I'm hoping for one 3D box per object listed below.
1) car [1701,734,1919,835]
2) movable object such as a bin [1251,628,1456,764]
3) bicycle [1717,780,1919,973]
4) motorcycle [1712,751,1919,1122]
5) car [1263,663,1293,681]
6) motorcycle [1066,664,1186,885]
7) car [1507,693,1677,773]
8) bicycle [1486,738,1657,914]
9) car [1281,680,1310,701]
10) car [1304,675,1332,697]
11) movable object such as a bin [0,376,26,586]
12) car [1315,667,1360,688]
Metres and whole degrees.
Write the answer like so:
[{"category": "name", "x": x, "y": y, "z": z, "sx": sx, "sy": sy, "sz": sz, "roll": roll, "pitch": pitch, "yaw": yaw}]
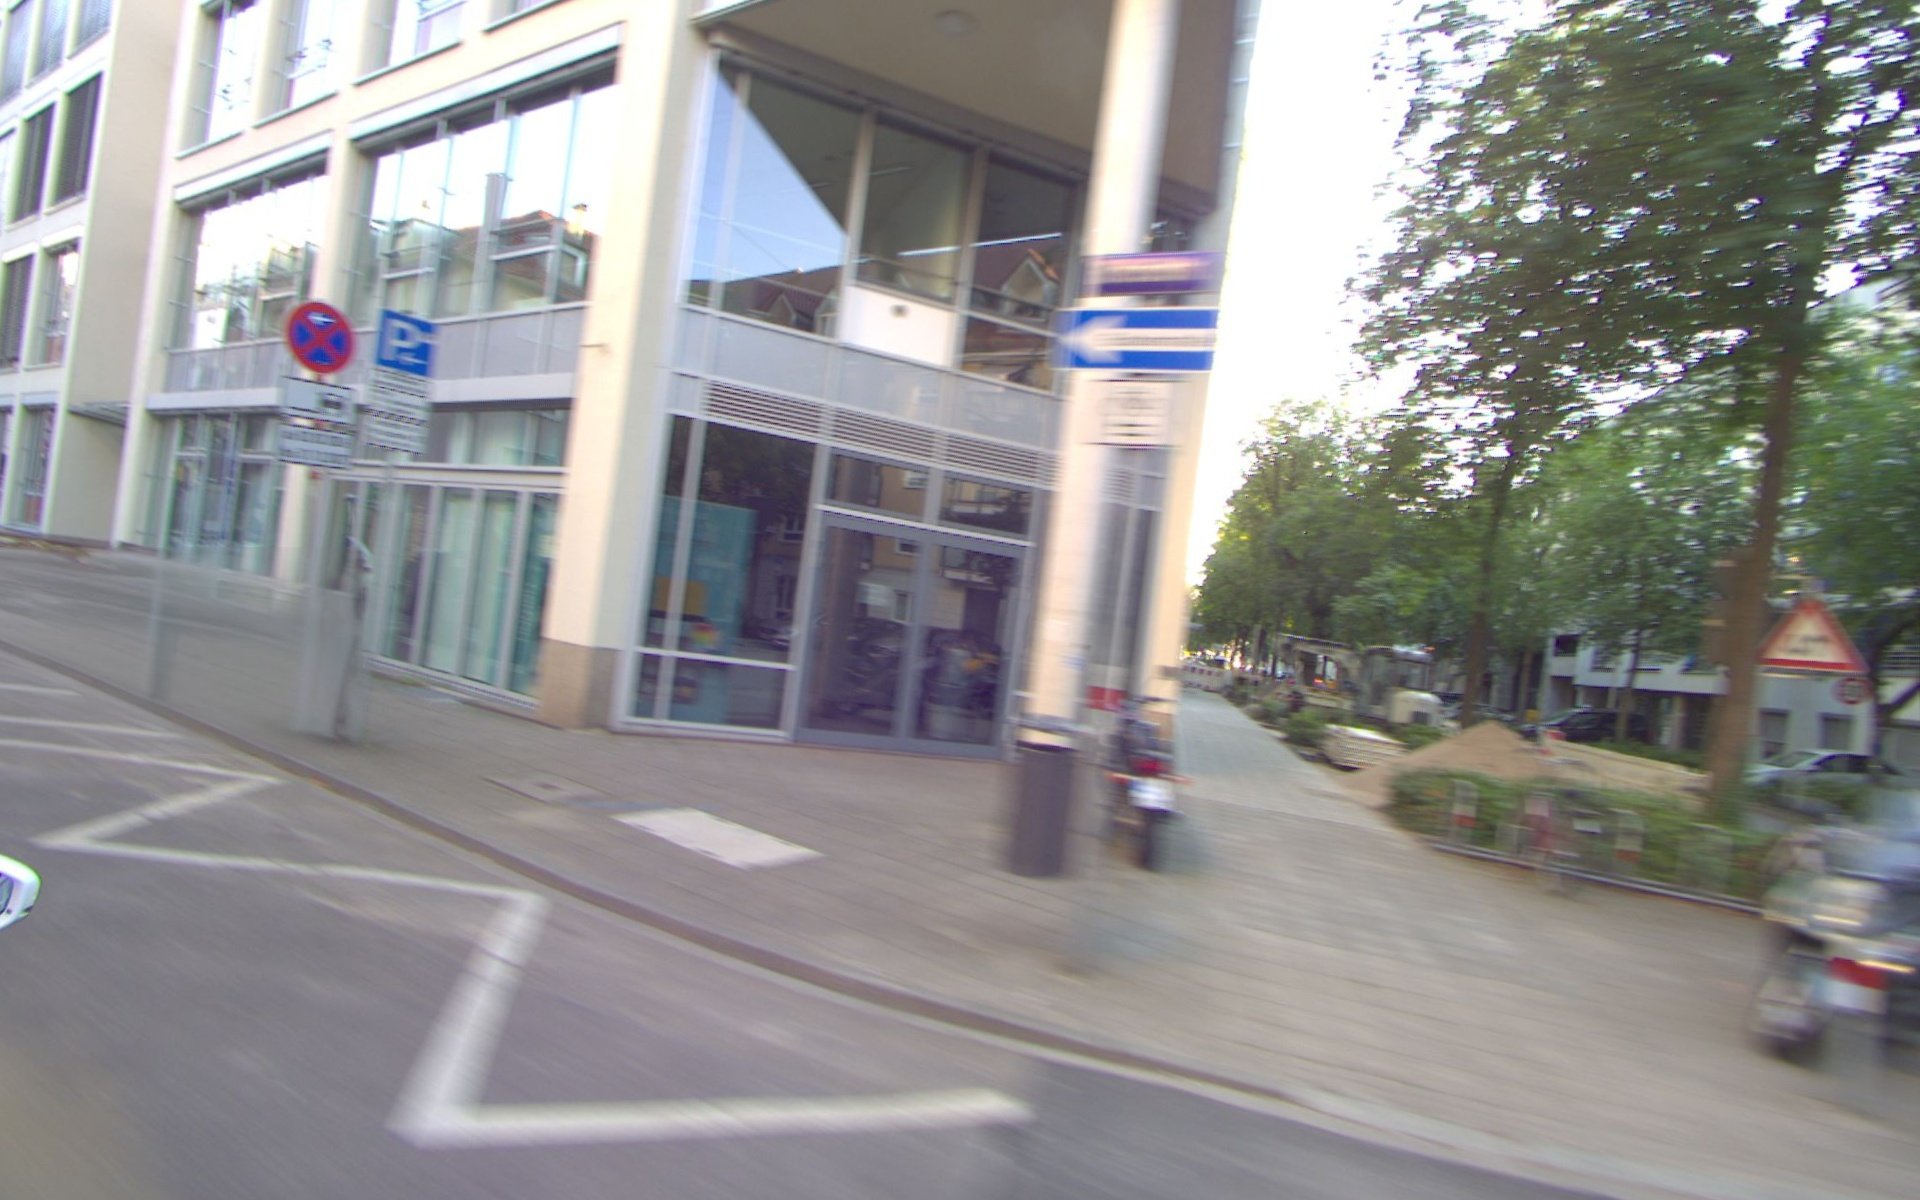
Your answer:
[{"category": "car", "x": 21.038, "y": 4.484, "z": 24.511, "sx": 4.366, "sy": 1.610, "sz": 1.630, "roll": 8, "pitch": -1, "yaw": 14}, {"category": "movable object such as a bin", "x": 8.707, "y": 2.083, "z": 22.658, "sx": 3.607, "sy": 2.360, "sz": 2.586, "roll": 8, "pitch": -1, "yaw": 10}, {"category": "bicycle", "x": 7.250, "y": 2.244, "z": 8.451, "sx": 0.591, "sy": 1.132, "sz": 1.801, "roll": 8, "pitch": 0, "yaw": 12}, {"category": "motorcycle", "x": 5.052, "y": 1.659, "z": 5.211, "sx": 2.353, "sy": 1.458, "sz": 0.796, "roll": 9, "pitch": 0, "yaw": -28}, {"category": "car", "x": 47.353, "y": 10.736, "z": 149.747, "sx": 3.924, "sy": 2.037, "sz": 2.002, "roll": 8, "pitch": -1, "yaw": 14}, {"category": "motorcycle", "x": 1.284, "y": 1.198, "z": 7.605, "sx": 0.604, "sy": 1.289, "sz": 2.127, "roll": 8, "pitch": 0, "yaw": 11}, {"category": "car", "x": 23.626, "y": 4.932, "z": 37.765, "sx": 4.893, "sy": 2.112, "sz": 1.740, "roll": 8, "pitch": -1, "yaw": 12}, {"category": "bicycle", "x": 5.301, "y": 1.911, "z": 8.855, "sx": 0.591, "sy": 1.132, "sz": 1.801, "roll": 8, "pitch": 0, "yaw": 12}, {"category": "car", "x": 30.433, "y": 8.221, "z": 91.384, "sx": 1.786, "sy": 1.449, "sz": 3.939, "roll": 8, "pitch": -1, "yaw": 11}, {"category": "car", "x": 28.779, "y": 6.903, "z": 80.985, "sx": 1.476, "sy": 1.433, "sz": 3.717, "roll": 8, "pitch": -1, "yaw": 12}, {"category": "movable object such as a bin", "x": -11.984, "y": -1.231, "z": 10.920, "sx": 4.047, "sy": 2.666, "sz": 1.797, "roll": 7, "pitch": -1, "yaw": 37}, {"category": "car", "x": 39.922, "y": 8.166, "z": 106.436, "sx": 3.924, "sy": 1.616, "sz": 2.002, "roll": 8, "pitch": -1, "yaw": 9}]
